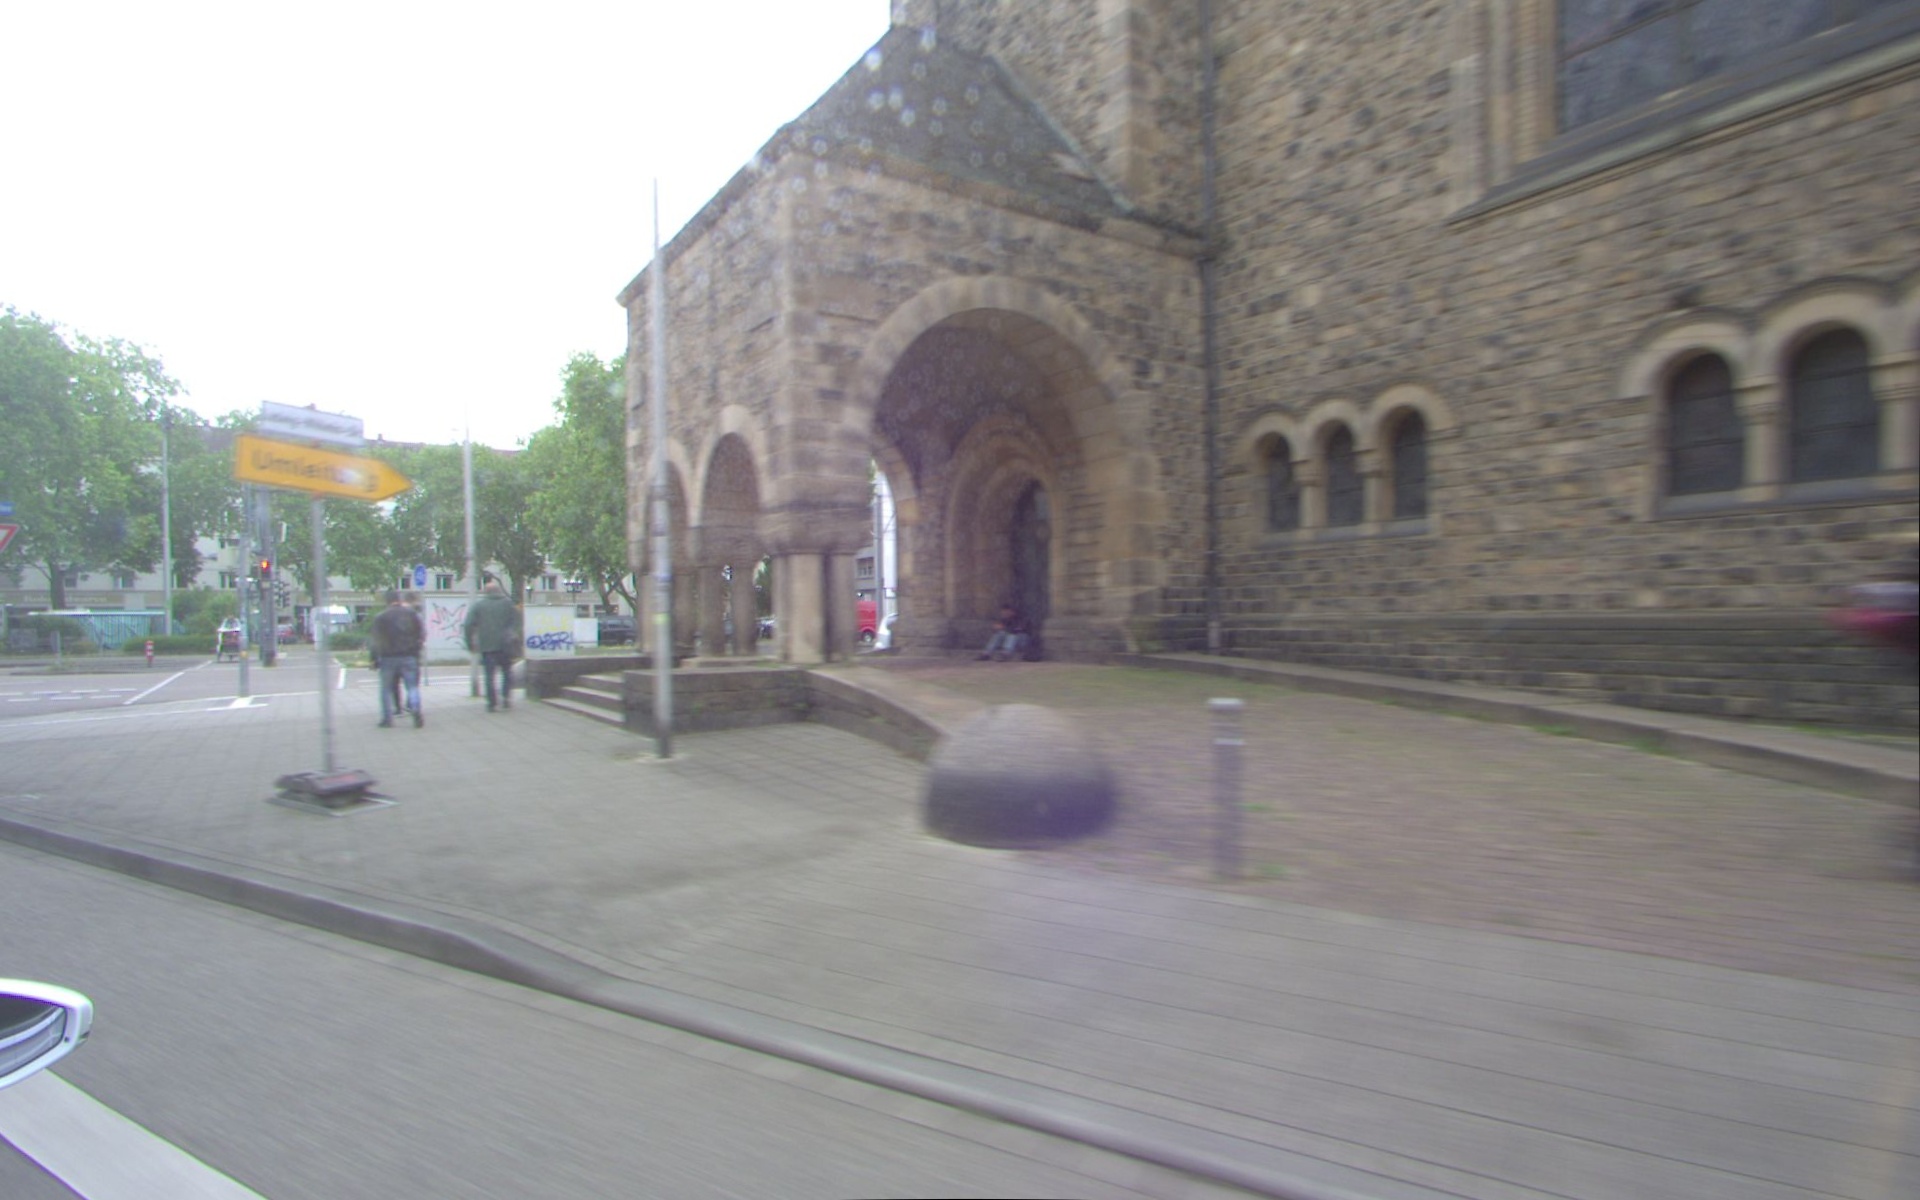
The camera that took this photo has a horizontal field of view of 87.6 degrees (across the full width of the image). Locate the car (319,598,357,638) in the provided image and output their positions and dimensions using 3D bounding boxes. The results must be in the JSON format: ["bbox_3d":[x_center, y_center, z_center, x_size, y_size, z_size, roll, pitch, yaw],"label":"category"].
[{"bbox_3d":[-44.052,1.275,71.038,2.211,2.674,5.417,0,-1,-31],"label":"car"}]

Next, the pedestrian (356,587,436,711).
[{"bbox_3d":[-8.040,0.681,14.281,0.957,1.696,0.630,0,2,39],"label":"pedestrian"}]

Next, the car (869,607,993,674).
[{"bbox_3d":[-0.794,0.986,25.111,1.595,1.550,3.449,-1,-1,-31],"label":"car"}]

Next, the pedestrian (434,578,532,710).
[{"bbox_3d":[-6.765,0.598,14.207,0.955,1.783,0.802,-1,2,32],"label":"pedestrian"}]

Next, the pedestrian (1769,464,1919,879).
[{"bbox_3d":[4.591,0.321,4.645,0.806,1.834,1.011,-1,5,-37],"label":"pedestrian"}]

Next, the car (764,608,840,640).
[{"bbox_3d":[-11.178,1.673,70.981,5.022,2.123,1.980,0,-1,-35],"label":"car"}]

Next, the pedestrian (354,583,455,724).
[{"bbox_3d":[-7.015,0.652,12.652,0.955,1.709,0.672,-1,2,32],"label":"pedestrian"}]

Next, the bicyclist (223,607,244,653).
[{"bbox_3d":[-26.775,1.105,36.891,0.608,1.675,0.749,-1,0,-36],"label":"bicyclist"}]

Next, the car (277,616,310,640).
[{"bbox_3d":[-44.767,1.851,67.289,1.647,1.535,3.917,0,-1,-31],"label":"car"}]

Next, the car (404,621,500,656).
[{"bbox_3d":[-24.522,1.833,48.370,3.938,1.582,1.676,0,-1,-35],"label":"car"}]

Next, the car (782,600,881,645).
[{"bbox_3d":[-7.613,1.302,59.617,5.538,2.571,1.980,0,-1,-35],"label":"car"}]

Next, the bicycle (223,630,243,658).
[{"bbox_3d":[-26.794,1.613,36.915,0.546,1.008,2.047,-1,-1,-35],"label":"bicycle"}]

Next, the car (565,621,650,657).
[{"bbox_3d":[-18.516,2.024,52.658,3.899,1.733,1.676,0,-1,-35],"label":"car"}]

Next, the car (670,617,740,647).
[{"bbox_3d":[-14.117,1.741,55.520,3.422,1.582,1.676,0,-1,-35],"label":"car"}]

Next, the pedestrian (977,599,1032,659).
[{"bbox_3d":[0.738,0.478,16.595,0.665,0.964,0.611,-1,0,-36],"label":"pedestrian"}]
